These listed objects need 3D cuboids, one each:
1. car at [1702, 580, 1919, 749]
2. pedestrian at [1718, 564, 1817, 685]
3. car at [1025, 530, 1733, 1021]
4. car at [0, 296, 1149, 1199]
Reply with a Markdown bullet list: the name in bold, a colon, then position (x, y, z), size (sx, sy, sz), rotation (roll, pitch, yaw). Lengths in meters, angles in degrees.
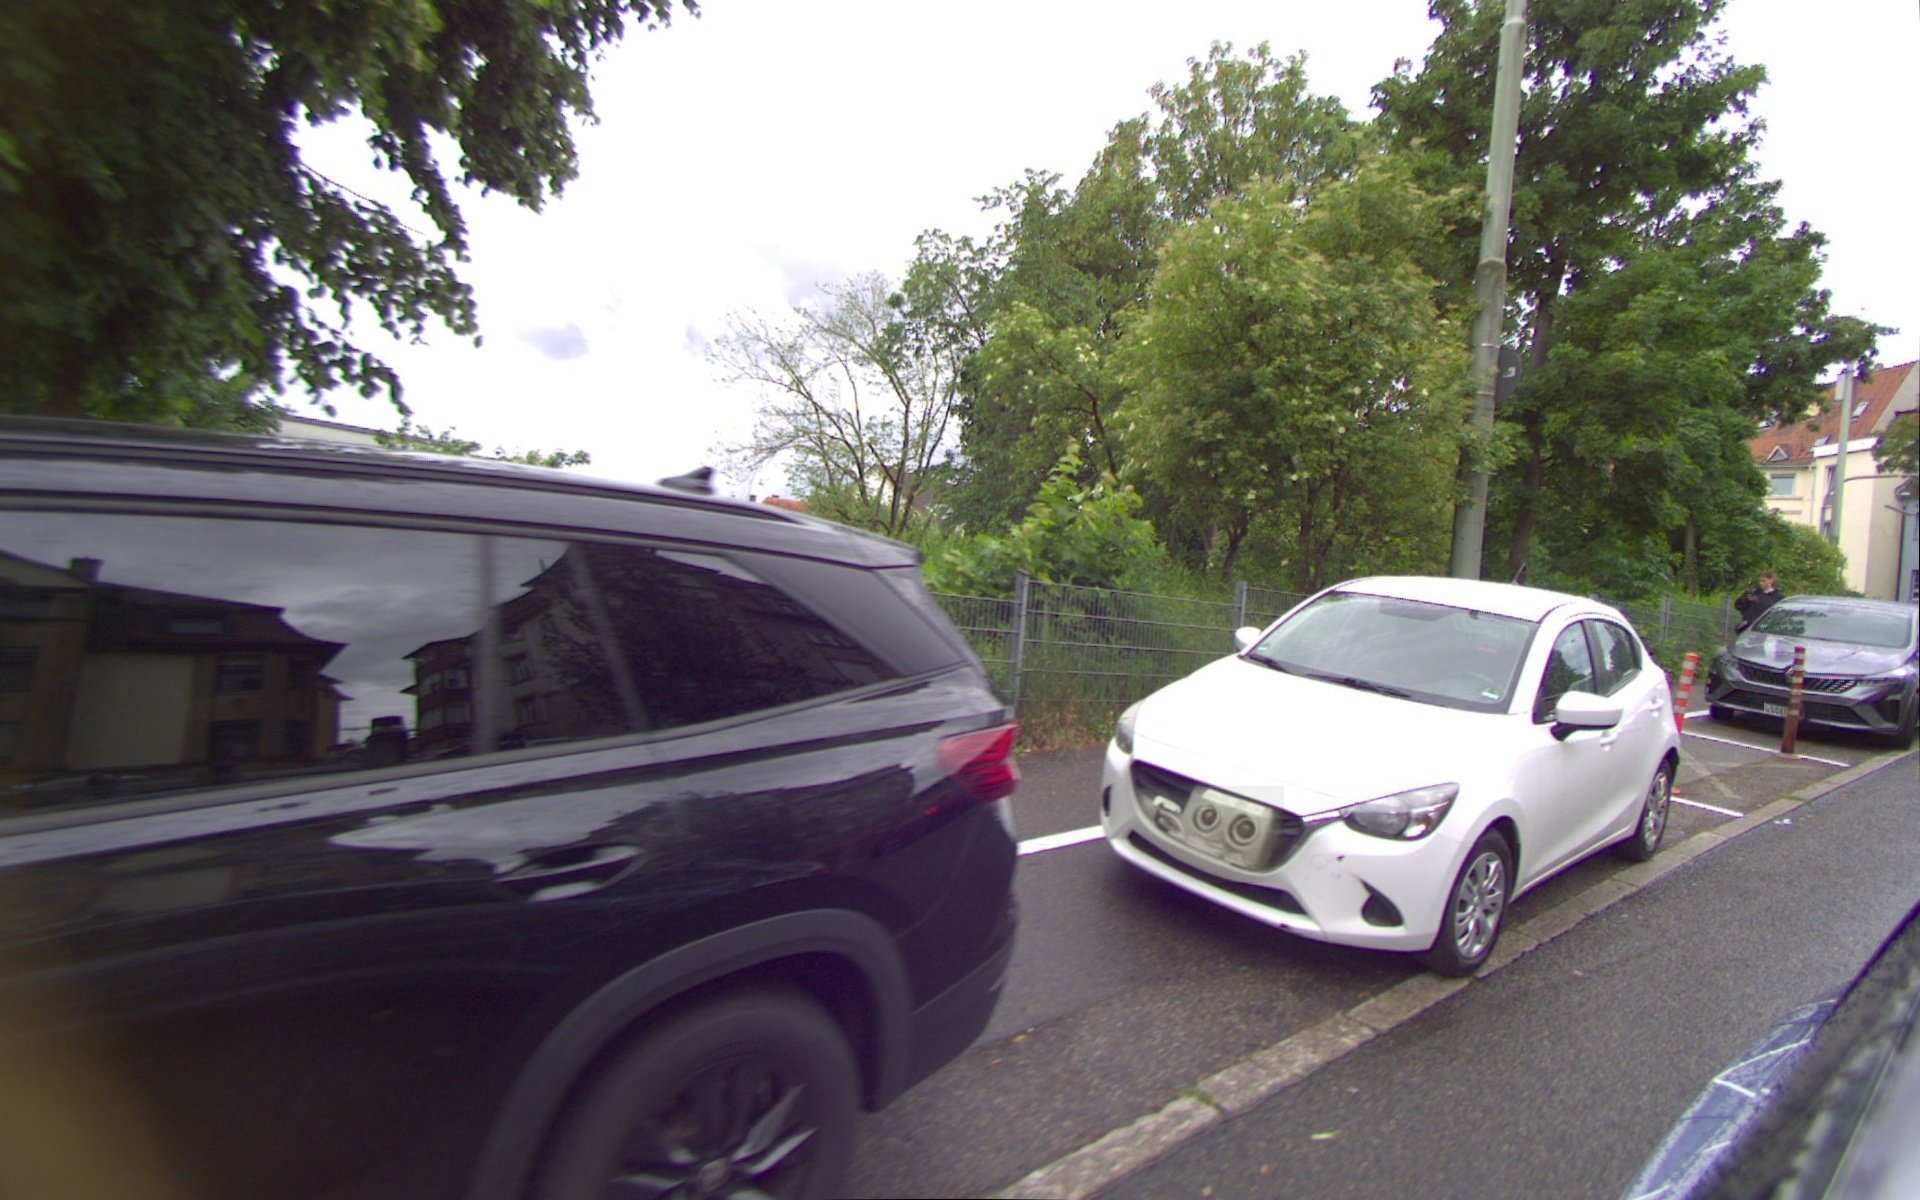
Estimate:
- **car**: position (9.966, 0.578, 11.280), size (3.743, 1.420, 1.655), rotation (-1, 7, -38)
- **pedestrian**: position (11.531, 0.328, 14.452), size (0.947, 1.624, 0.769), rotation (1, 4, -36)
- **car**: position (2.414, 0.522, 5.358), size (3.932, 1.511, 1.820), rotation (-1, 8, -42)
- **car**: position (-1.989, 0.435, 1.596), size (4.717, 1.703, 1.826), rotation (0, 4, -40)
